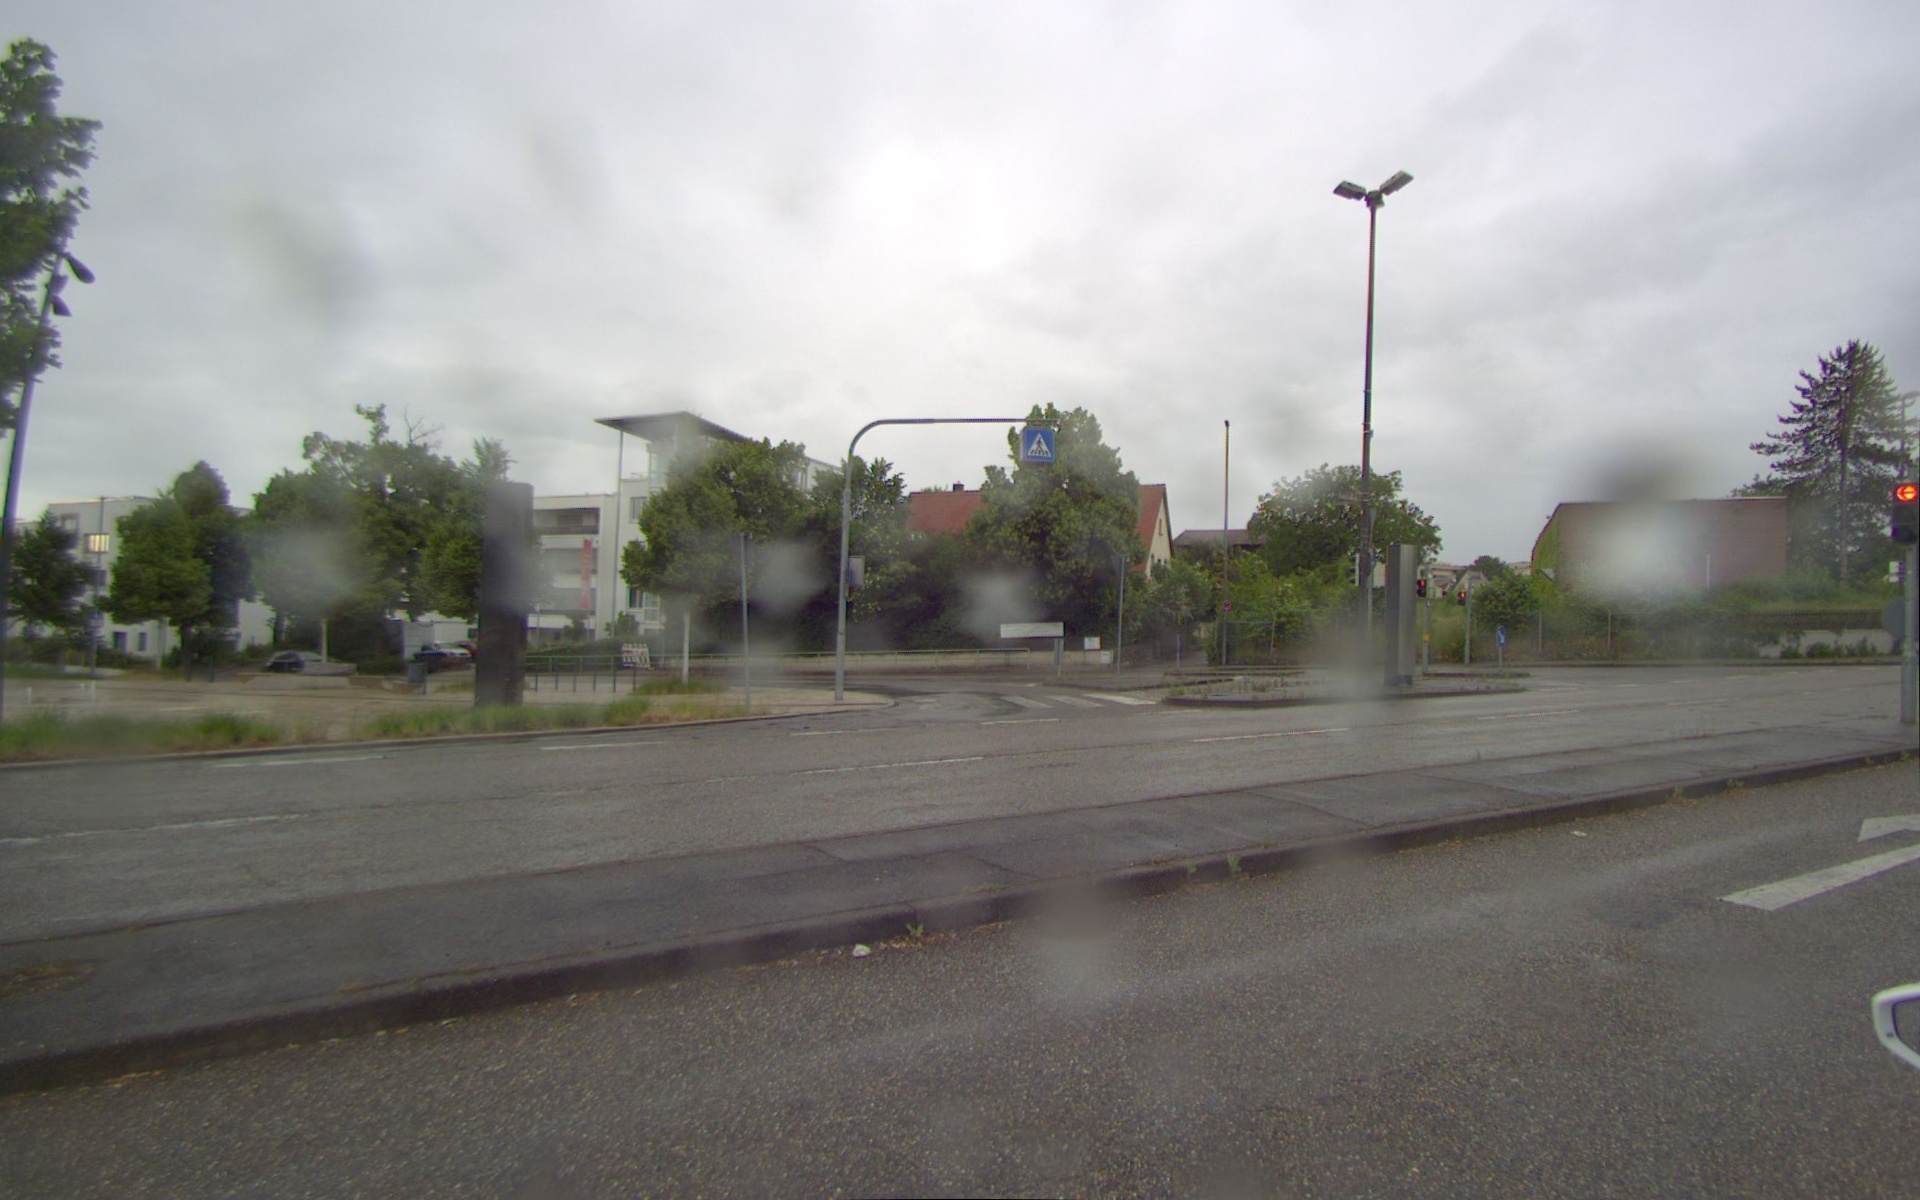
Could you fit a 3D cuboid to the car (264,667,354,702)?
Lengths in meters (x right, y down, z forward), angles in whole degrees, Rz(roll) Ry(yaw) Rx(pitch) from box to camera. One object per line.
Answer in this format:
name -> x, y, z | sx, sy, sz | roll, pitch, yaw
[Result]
car -> -29.989, 3.849, 46.253 | 4.205, 1.408, 1.787 | -1, -2, 30
